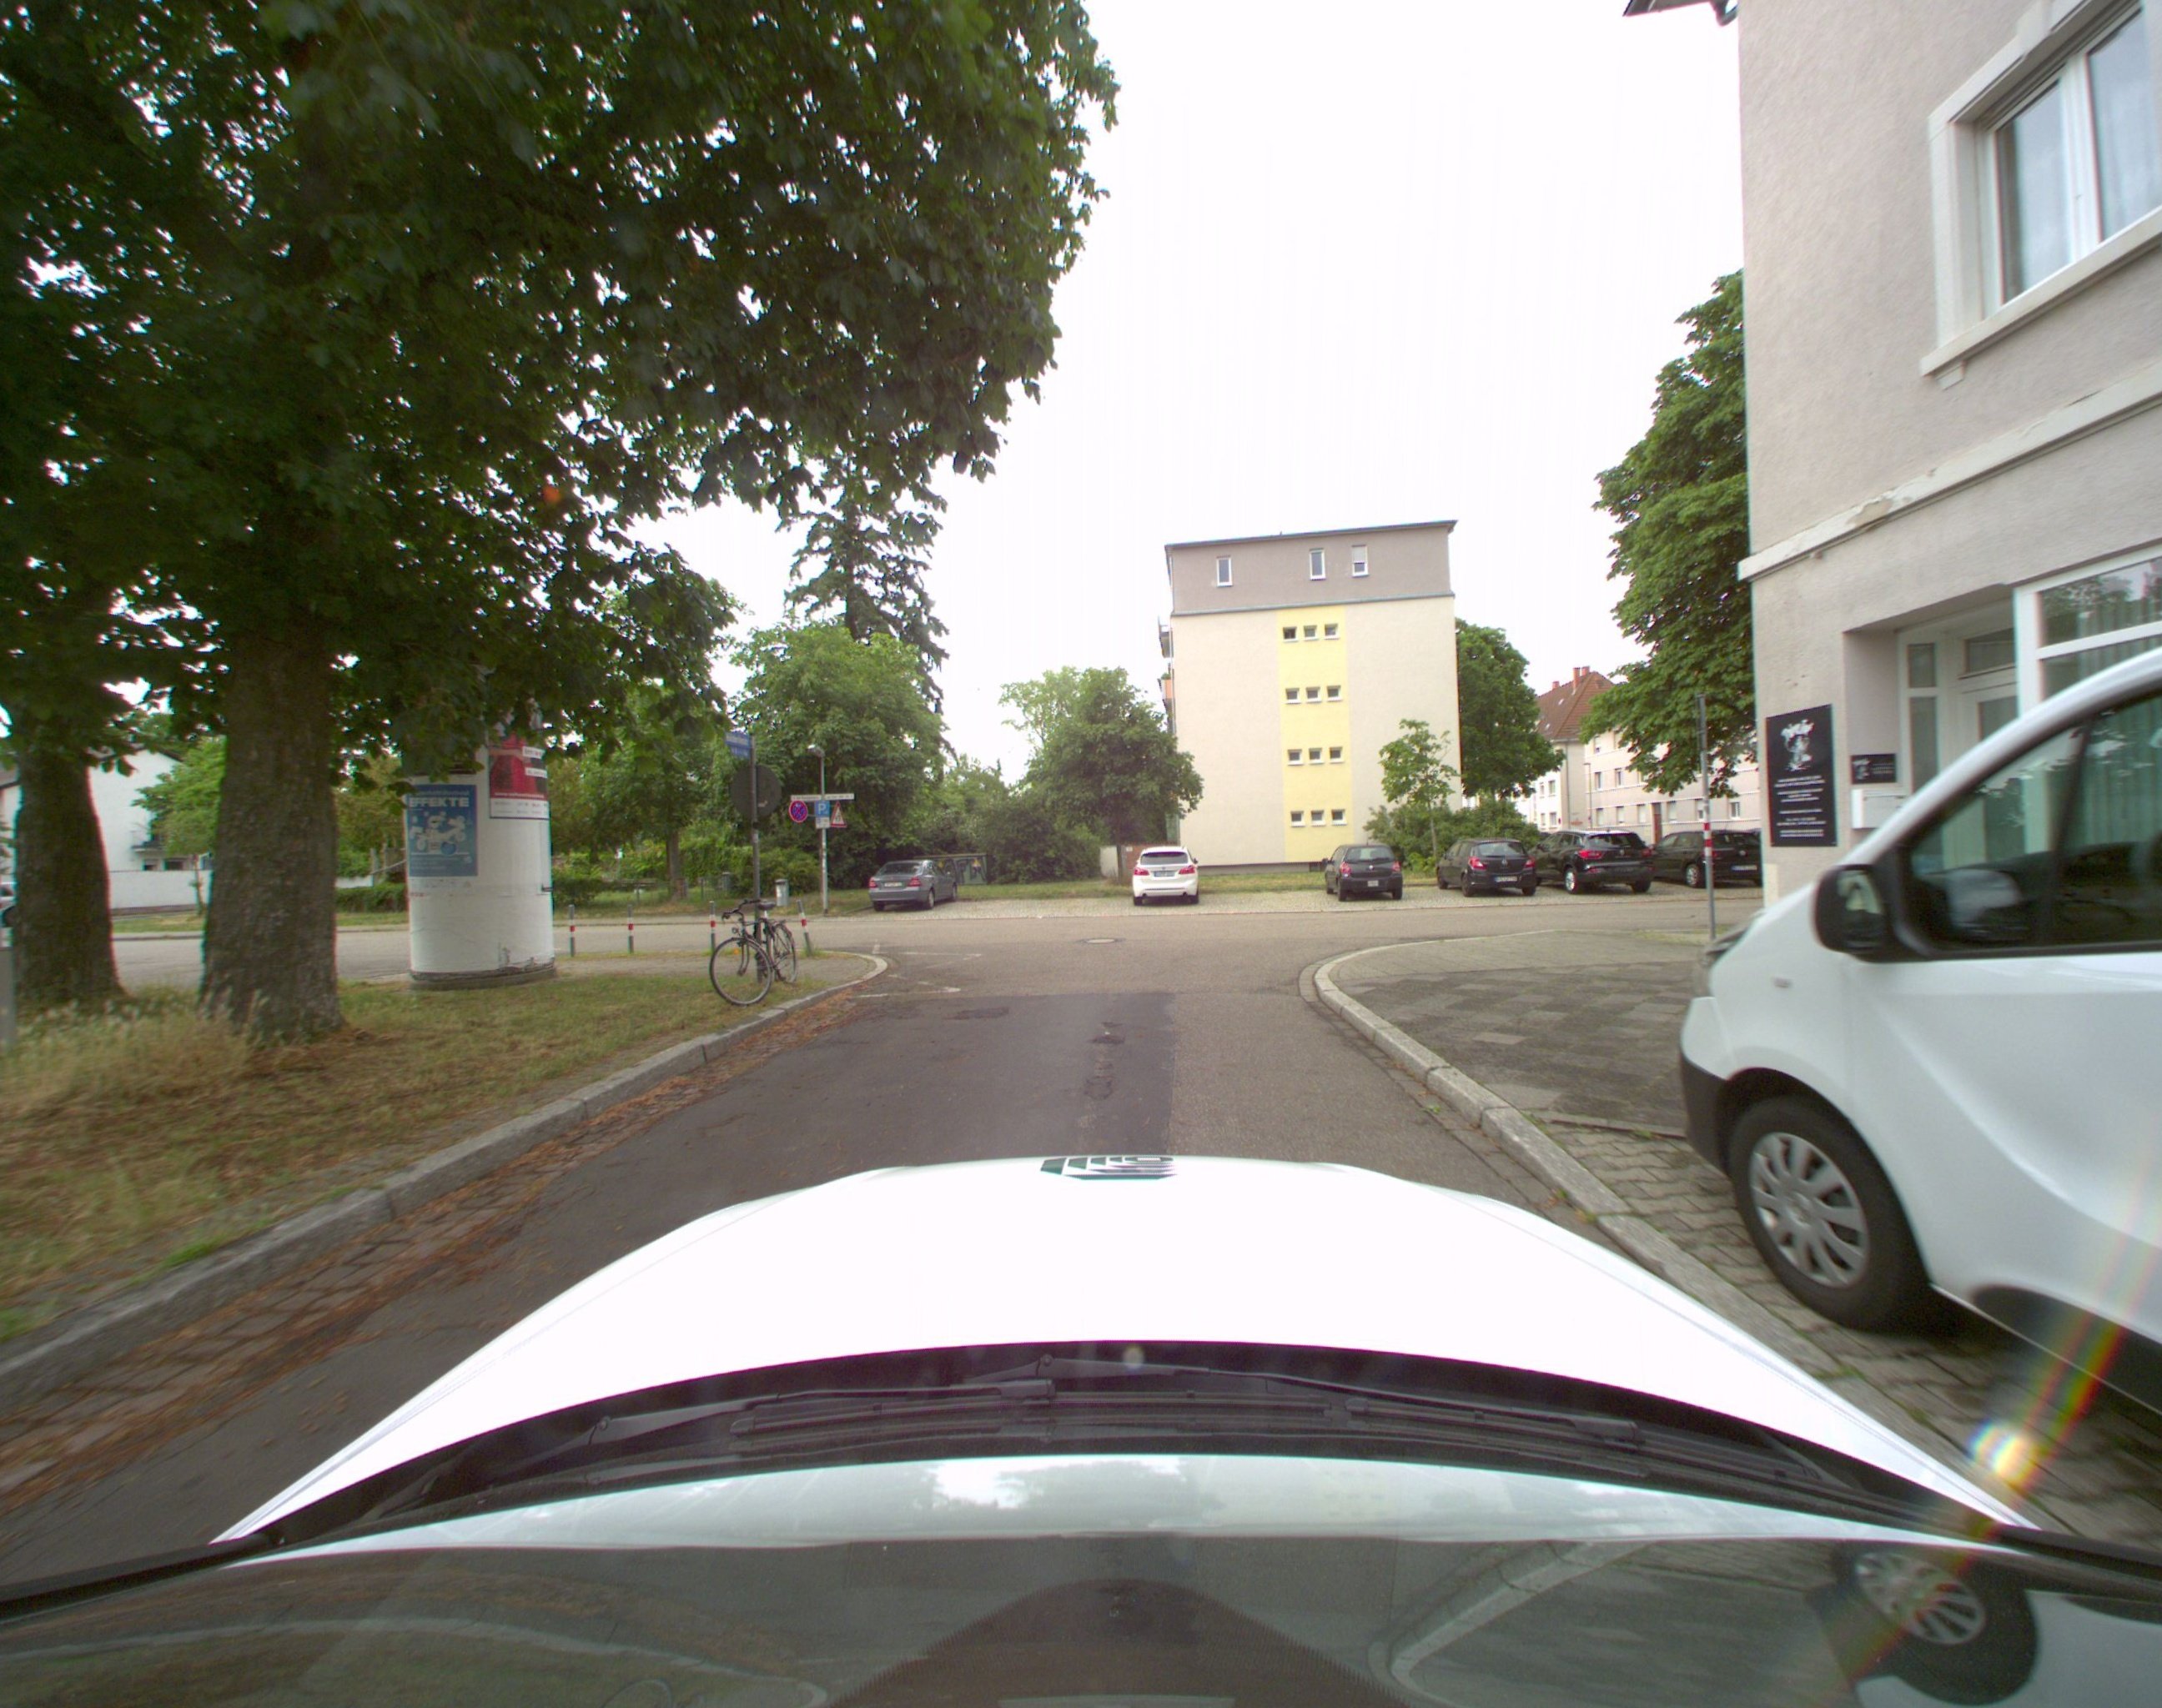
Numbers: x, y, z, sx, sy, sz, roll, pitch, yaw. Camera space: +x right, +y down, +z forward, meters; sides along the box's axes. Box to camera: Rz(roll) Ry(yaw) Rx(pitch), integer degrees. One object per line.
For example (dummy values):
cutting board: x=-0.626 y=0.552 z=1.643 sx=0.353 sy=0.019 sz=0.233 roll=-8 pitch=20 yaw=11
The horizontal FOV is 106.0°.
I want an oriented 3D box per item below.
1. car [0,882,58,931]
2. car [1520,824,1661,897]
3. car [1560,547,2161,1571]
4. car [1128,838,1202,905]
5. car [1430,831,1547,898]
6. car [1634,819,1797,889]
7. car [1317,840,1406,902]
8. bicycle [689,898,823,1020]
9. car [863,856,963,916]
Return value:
car: x=-44.781 y=2.187 z=32.540 sx=1.984 sy=1.859 sz=4.501 roll=0 pitch=1 yaw=5
car: x=13.259 y=0.100 z=21.489 sx=1.897 sy=1.697 sz=4.083 roll=-2 pitch=1 yaw=13
car: x=2.984 y=0.373 z=1.144 sx=1.870 sy=1.995 sz=5.018 roll=-3 pitch=1 yaw=4
car: x=2.518 y=0.430 z=23.488 sx=1.867 sy=1.560 sz=4.161 roll=-1 pitch=4 yaw=9
car: x=10.922 y=0.202 z=22.153 sx=1.823 sy=1.565 sz=4.373 roll=-2 pitch=1 yaw=13
car: x=16.419 y=-0.012 z=21.336 sx=1.813 sy=1.577 sz=3.855 roll=-3 pitch=0 yaw=11
car: x=7.767 y=0.404 z=22.920 sx=1.823 sy=1.463 sz=4.577 roll=-2 pitch=1 yaw=13
bicycle: x=-3.375 y=1.038 z=8.685 sx=0.508 sy=0.985 sz=2.183 roll=0 pitch=1 yaw=1
car: x=-4.916 y=0.876 z=24.495 sx=1.667 sy=1.454 sz=4.566 roll=-2 pitch=1 yaw=5
